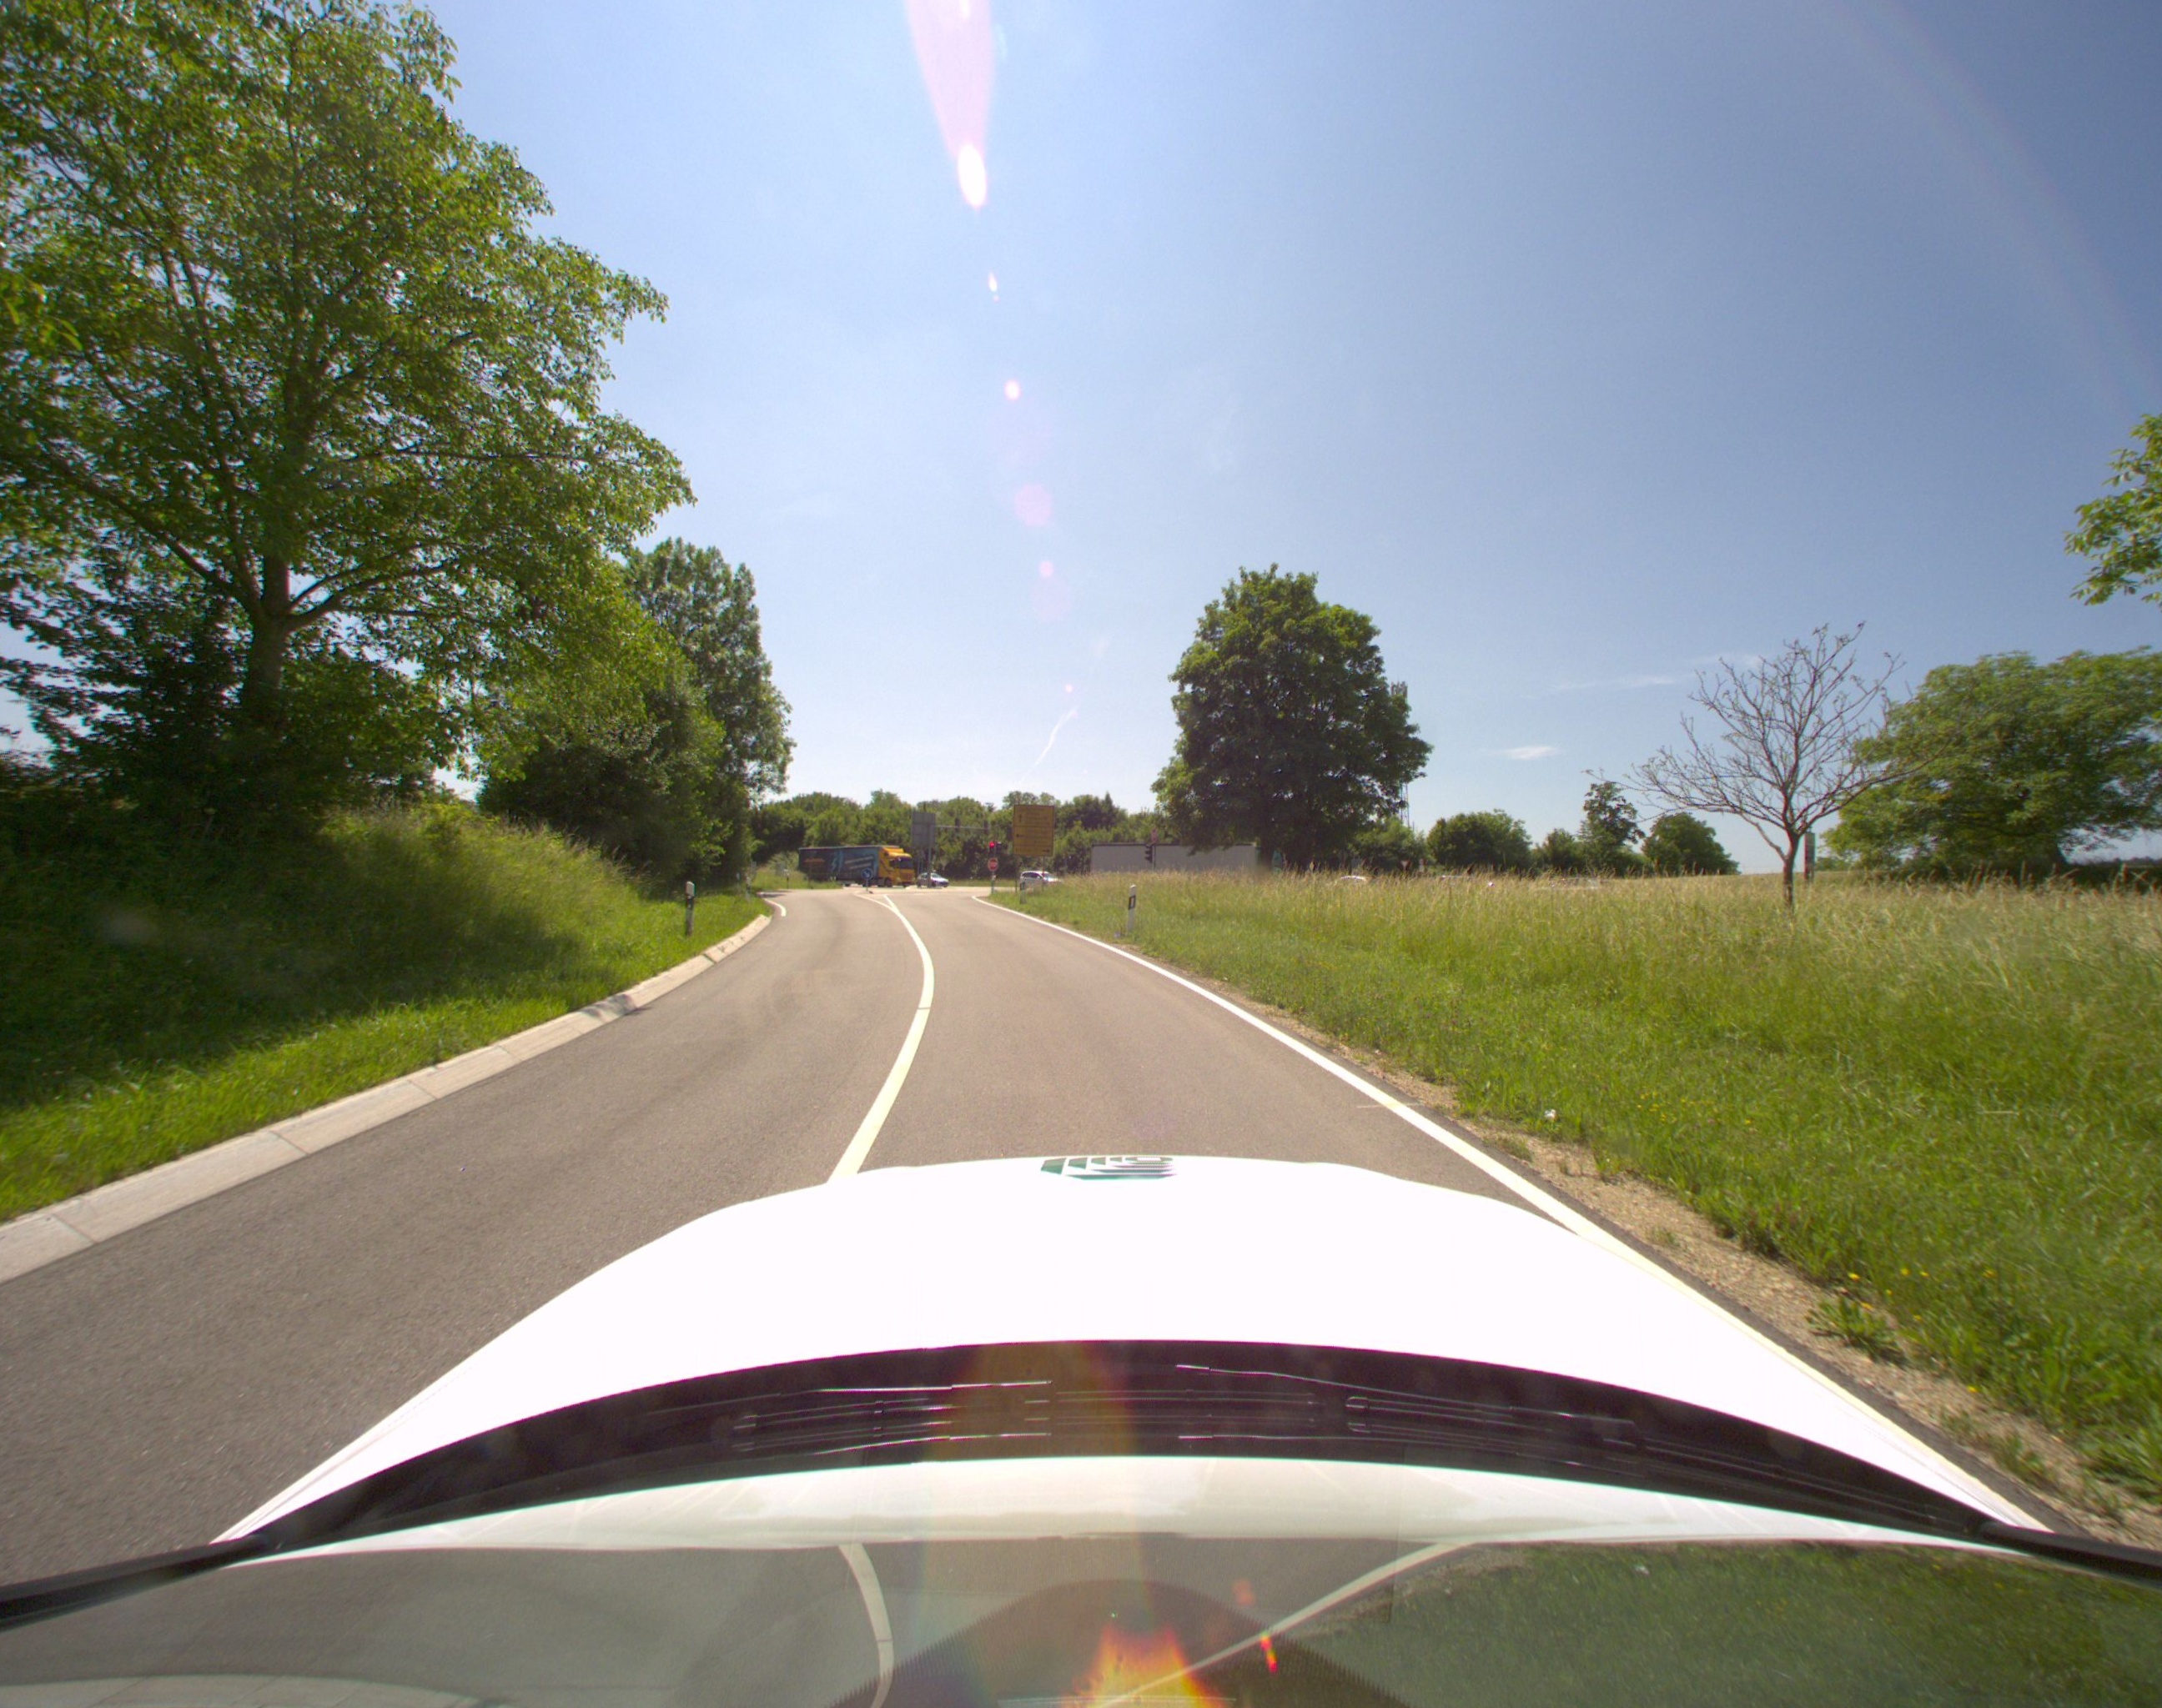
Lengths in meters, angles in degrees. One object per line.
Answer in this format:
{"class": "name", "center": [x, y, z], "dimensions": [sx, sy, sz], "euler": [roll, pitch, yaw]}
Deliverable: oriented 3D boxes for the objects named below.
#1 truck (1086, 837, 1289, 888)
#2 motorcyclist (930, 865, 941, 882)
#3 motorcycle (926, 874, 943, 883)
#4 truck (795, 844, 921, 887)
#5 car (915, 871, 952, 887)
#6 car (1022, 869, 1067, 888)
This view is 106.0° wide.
{"class": "truck", "center": [8.785, 0.759, 68.383], "dimensions": [16.554, 4.173, 3.139], "euler": [0, -2, 4]}
{"class": "motorcyclist", "center": [-15.853, 2.090, 88.655], "dimensions": [0.887, 1.843, 0.844], "euler": [-2, -2, 31]}
{"class": "motorcycle", "center": [-15.933, 2.638, 88.683], "dimensions": [1.848, 0.963, 0.735], "euler": [-2, -2, 32]}
{"class": "truck", "center": [-23.283, 1.169, 83.937], "dimensions": [16.594, 4.132, 2.870], "euler": [0, -2, 37]}
{"class": "car", "center": [-14.826, 2.518, 81.944], "dimensions": [3.865, 1.575, 1.670], "euler": [-2, -1, 43]}
{"class": "car", "center": [-3.217, 2.138, 71.572], "dimensions": [3.642, 1.575, 1.737], "euler": [-2, -1, 36]}
